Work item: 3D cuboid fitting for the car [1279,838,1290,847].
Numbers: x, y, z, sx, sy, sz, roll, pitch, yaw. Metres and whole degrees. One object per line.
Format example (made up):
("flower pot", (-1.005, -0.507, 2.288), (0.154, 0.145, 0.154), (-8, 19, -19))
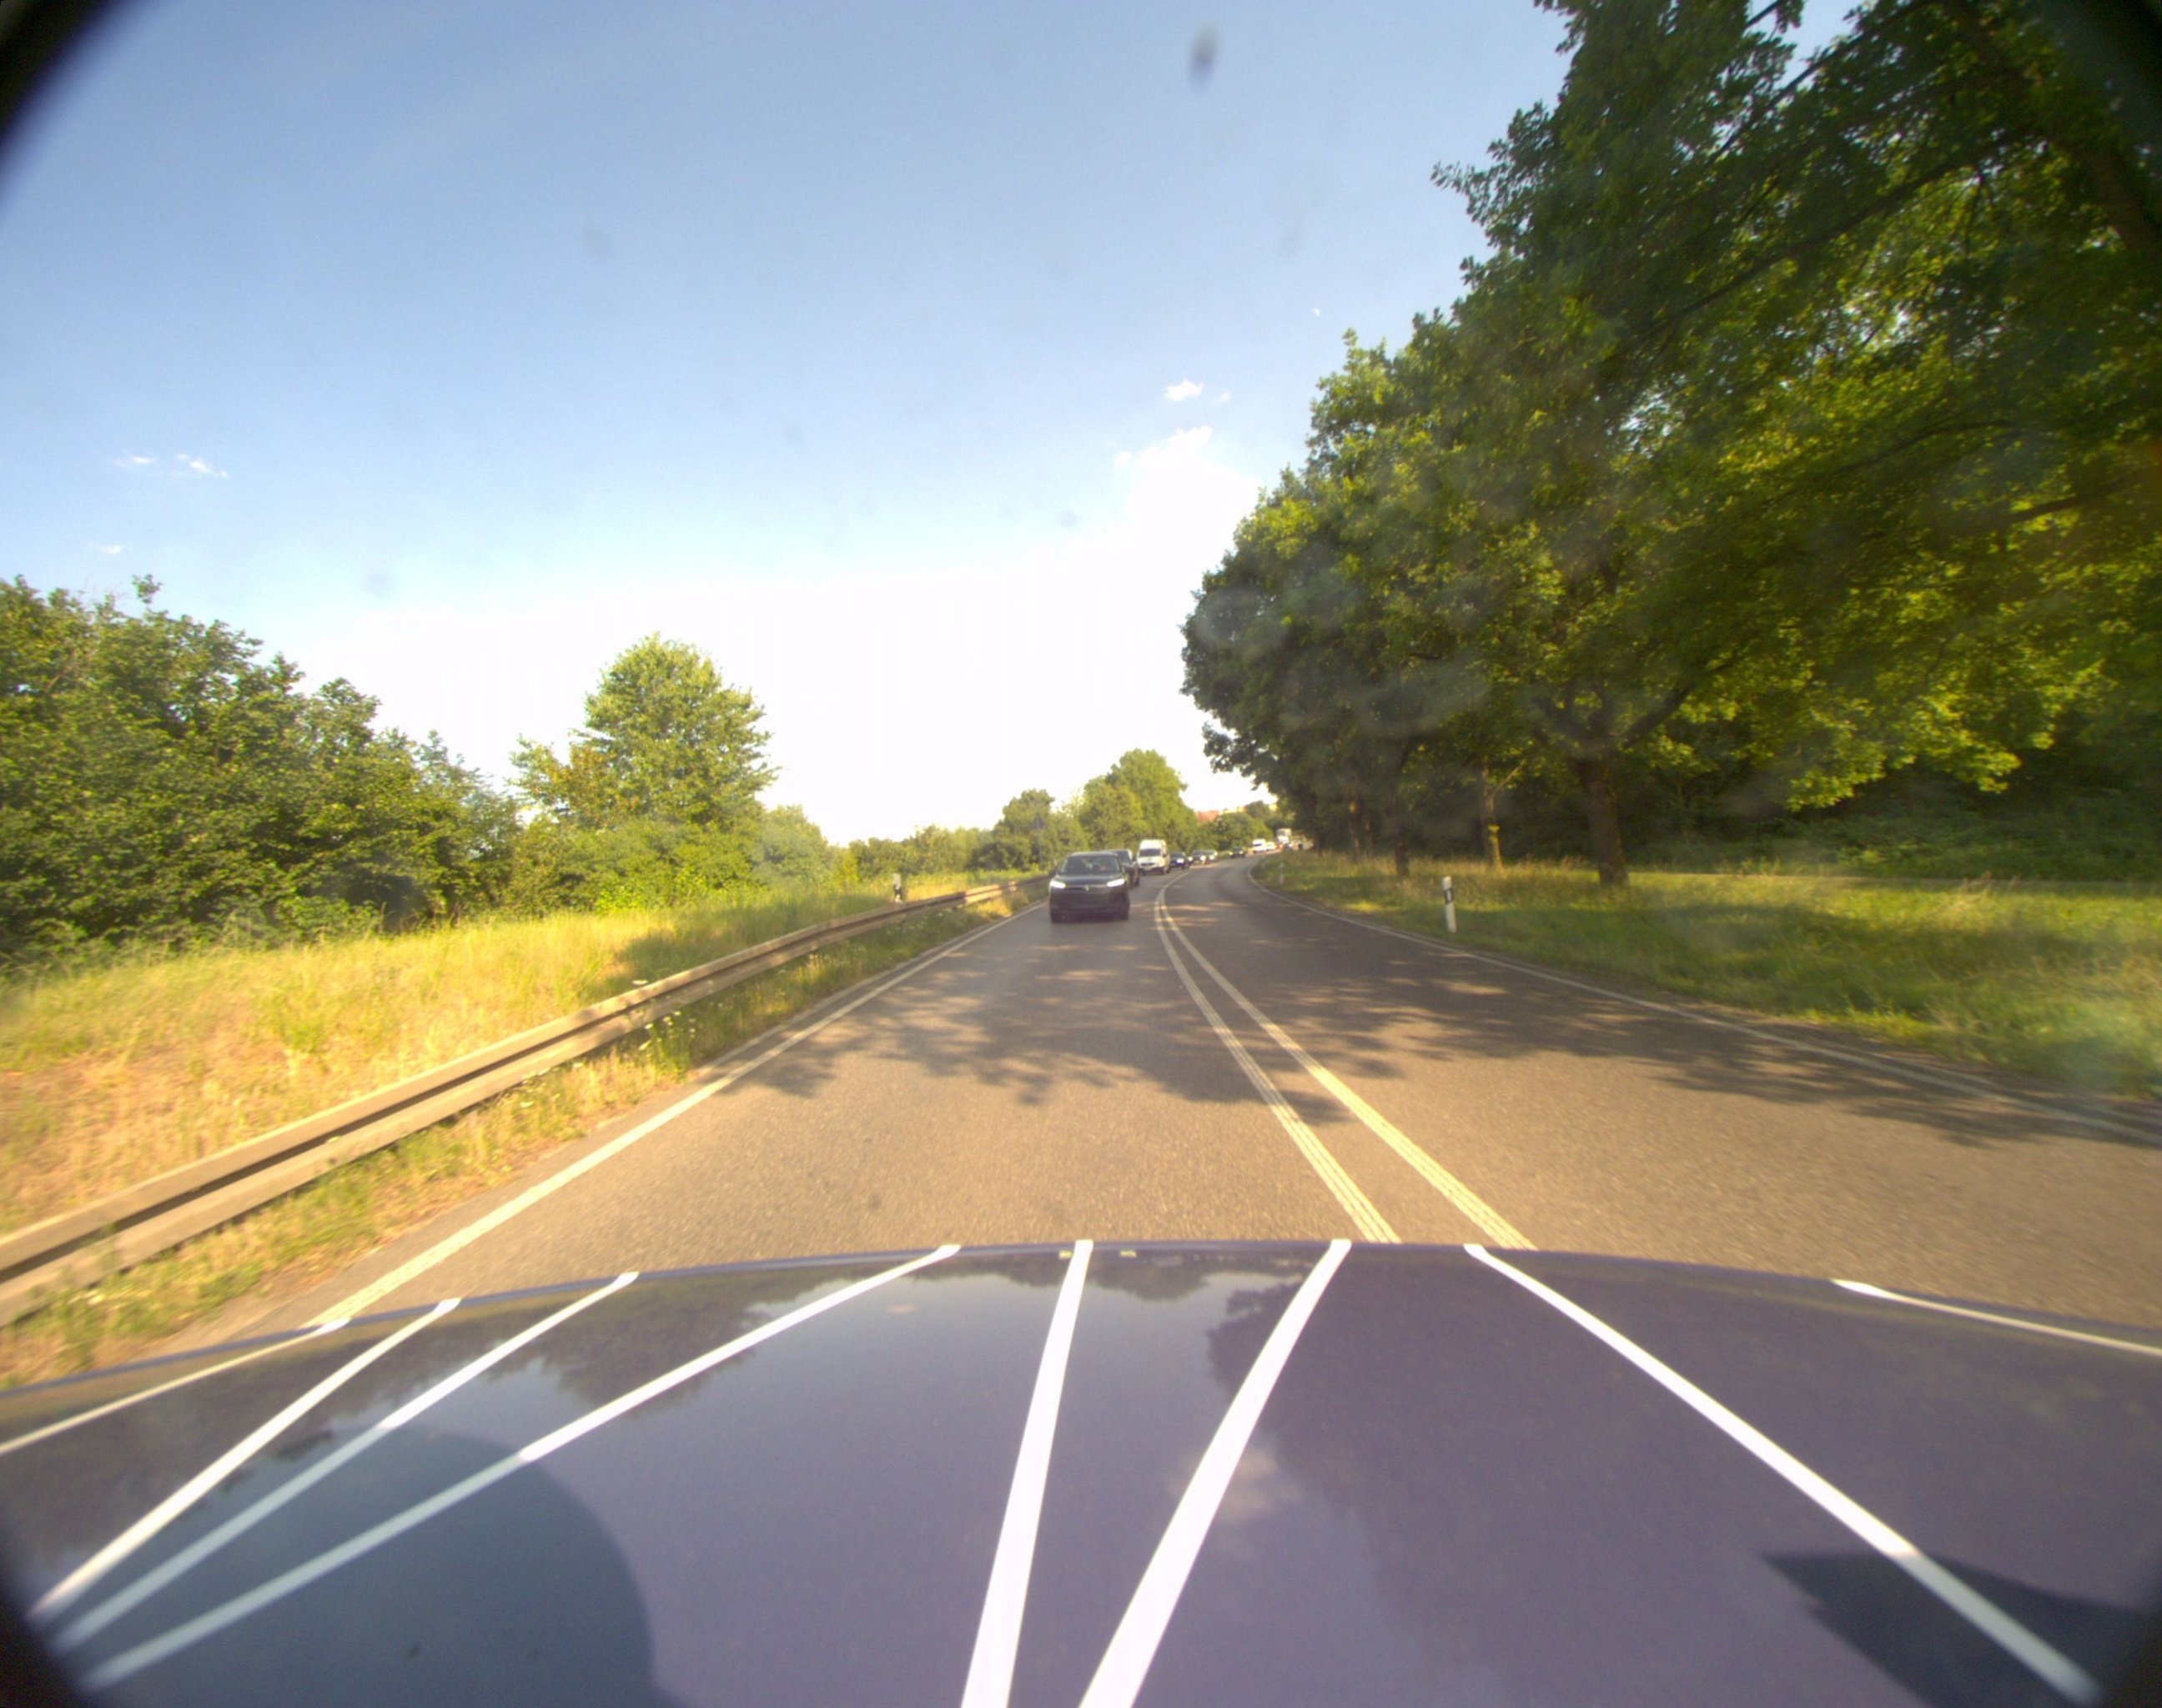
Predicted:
("car", (58.262, -3.383, 217.544), (2.085, 2.403, 5.149), (-2, 1, 23))

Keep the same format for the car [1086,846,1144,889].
("car", (1.588, 0.548, 33.801), (1.921, 1.718, 4.705), (-3, 0, 10))

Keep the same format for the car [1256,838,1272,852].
("car", (34.491, -1.773, 142.892), (2.085, 2.403, 5.149), (-2, 1, 23))

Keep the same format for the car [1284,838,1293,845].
("car", (46.394, -2.793, 169.895), (1.899, 1.622, 4.255), (-2, 1, 17))

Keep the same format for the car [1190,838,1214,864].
("car", (12.165, -0.314, 76.205), (2.087, 2.403, 5.145), (-2, 1, 11))

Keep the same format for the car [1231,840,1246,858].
("car", (22.958, -0.743, 110.899), (2.087, 2.403, 5.145), (-2, 1, 11))

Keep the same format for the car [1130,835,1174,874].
("car", (4.803, -0.029, 50.867), (2.086, 2.403, 5.146), (-2, 1, 14))

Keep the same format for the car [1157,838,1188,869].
("car", (7.693, -0.095, 63.251), (2.087, 2.403, 5.145), (-2, 1, 11))

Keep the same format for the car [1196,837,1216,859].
("car", (14.800, -0.713, 89.550), (2.087, 2.403, 5.145), (-2, 1, 11))

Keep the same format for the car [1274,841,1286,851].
("car", (50.535, -1.946, 192.703), (2.085, 2.403, 5.149), (-2, 1, 23))

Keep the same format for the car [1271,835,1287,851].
("car", (30.078, -1.679, 115.258), (2.086, 2.403, 5.147), (-2, 1, 16))

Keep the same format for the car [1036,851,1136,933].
("car", (0.277, 0.794, 18.292), (1.921, 1.612, 4.702), (-3, 1, 5))

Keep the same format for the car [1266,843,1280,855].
("car", (41.410, -1.187, 164.138), (2.085, 2.403, 5.149), (-2, 1, 23))

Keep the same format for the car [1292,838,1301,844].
("car", (60.099, -3.670, 211.838), (1.892, 1.622, 4.256), (-2, 1, 19))
